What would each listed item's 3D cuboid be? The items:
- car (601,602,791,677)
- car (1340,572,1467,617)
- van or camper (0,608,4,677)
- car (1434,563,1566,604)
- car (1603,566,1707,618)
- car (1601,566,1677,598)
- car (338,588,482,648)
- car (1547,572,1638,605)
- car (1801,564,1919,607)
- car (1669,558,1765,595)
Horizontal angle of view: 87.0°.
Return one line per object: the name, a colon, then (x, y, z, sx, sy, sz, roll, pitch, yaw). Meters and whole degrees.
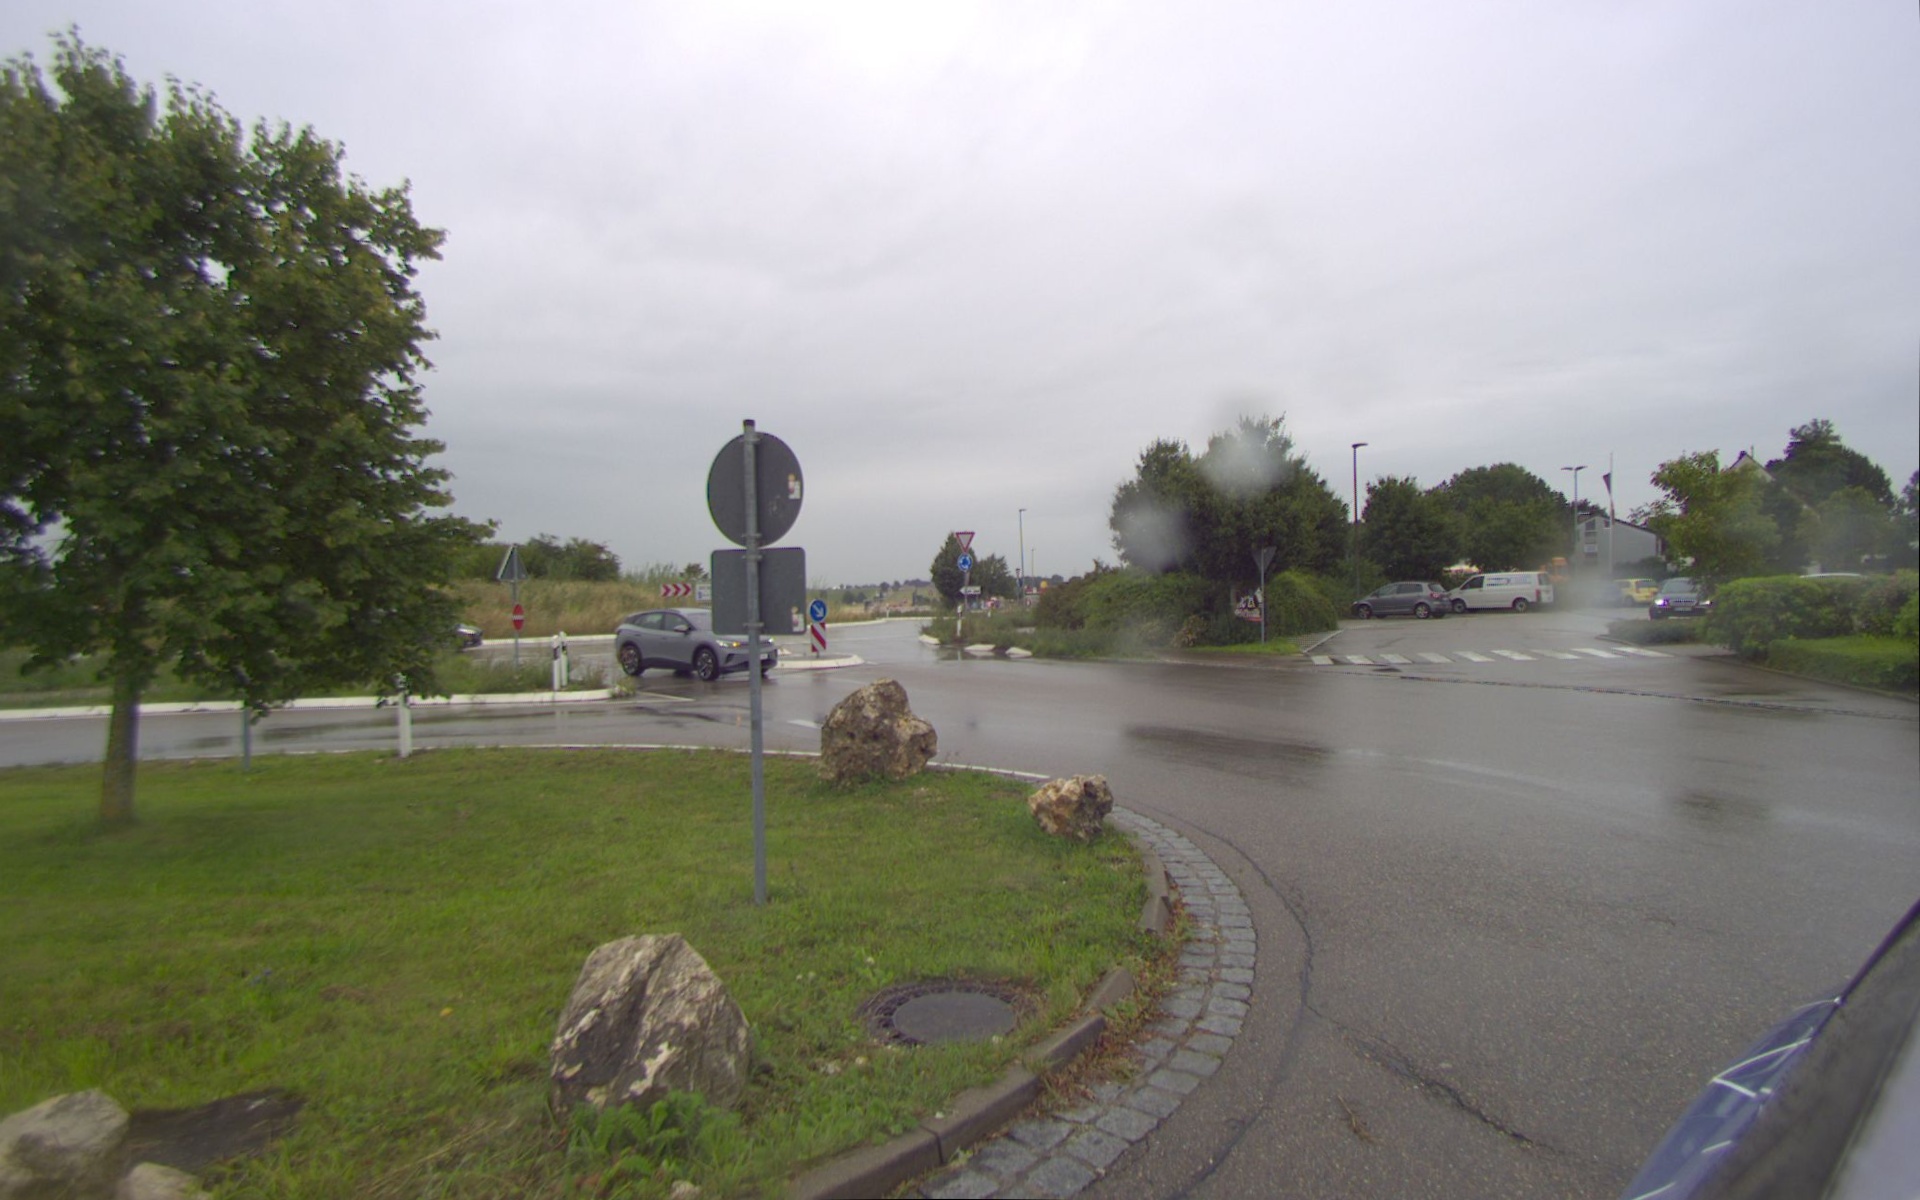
car: (-6.454, 0.943, 24.576, 4.468, 1.594, 1.977, -2, 1, 34)
car: (19.151, -0.232, 43.885, 1.965, 1.744, 4.602, -1, -1, -40)
van or camper: (-30.549, 1.361, 28.622, 4.753, 2.038, 2.001, -2, 2, -33)
car: (26.637, -0.772, 50.064, 1.965, 1.744, 5.369, -1, -1, -40)
car: (21.896, -0.262, 31.811, 4.286, 1.443, 1.703, -3, 0, -42)
car: (36.023, -0.929, 53.781, 1.637, 1.569, 3.722, -2, 0, 4)
car: (-17.806, 0.549, 32.979, 3.918, 1.609, 1.830, -4, 3, -24)
car: (33.348, -0.572, 53.534, 1.963, 1.570, 4.645, -2, -1, 2)
car: (32.971, -0.530, 36.087, 1.819, 1.443, 4.352, -2, 0, -41)
car: (40.491, -1.223, 54.258, 1.952, 1.750, 4.001, -2, 0, -1)
